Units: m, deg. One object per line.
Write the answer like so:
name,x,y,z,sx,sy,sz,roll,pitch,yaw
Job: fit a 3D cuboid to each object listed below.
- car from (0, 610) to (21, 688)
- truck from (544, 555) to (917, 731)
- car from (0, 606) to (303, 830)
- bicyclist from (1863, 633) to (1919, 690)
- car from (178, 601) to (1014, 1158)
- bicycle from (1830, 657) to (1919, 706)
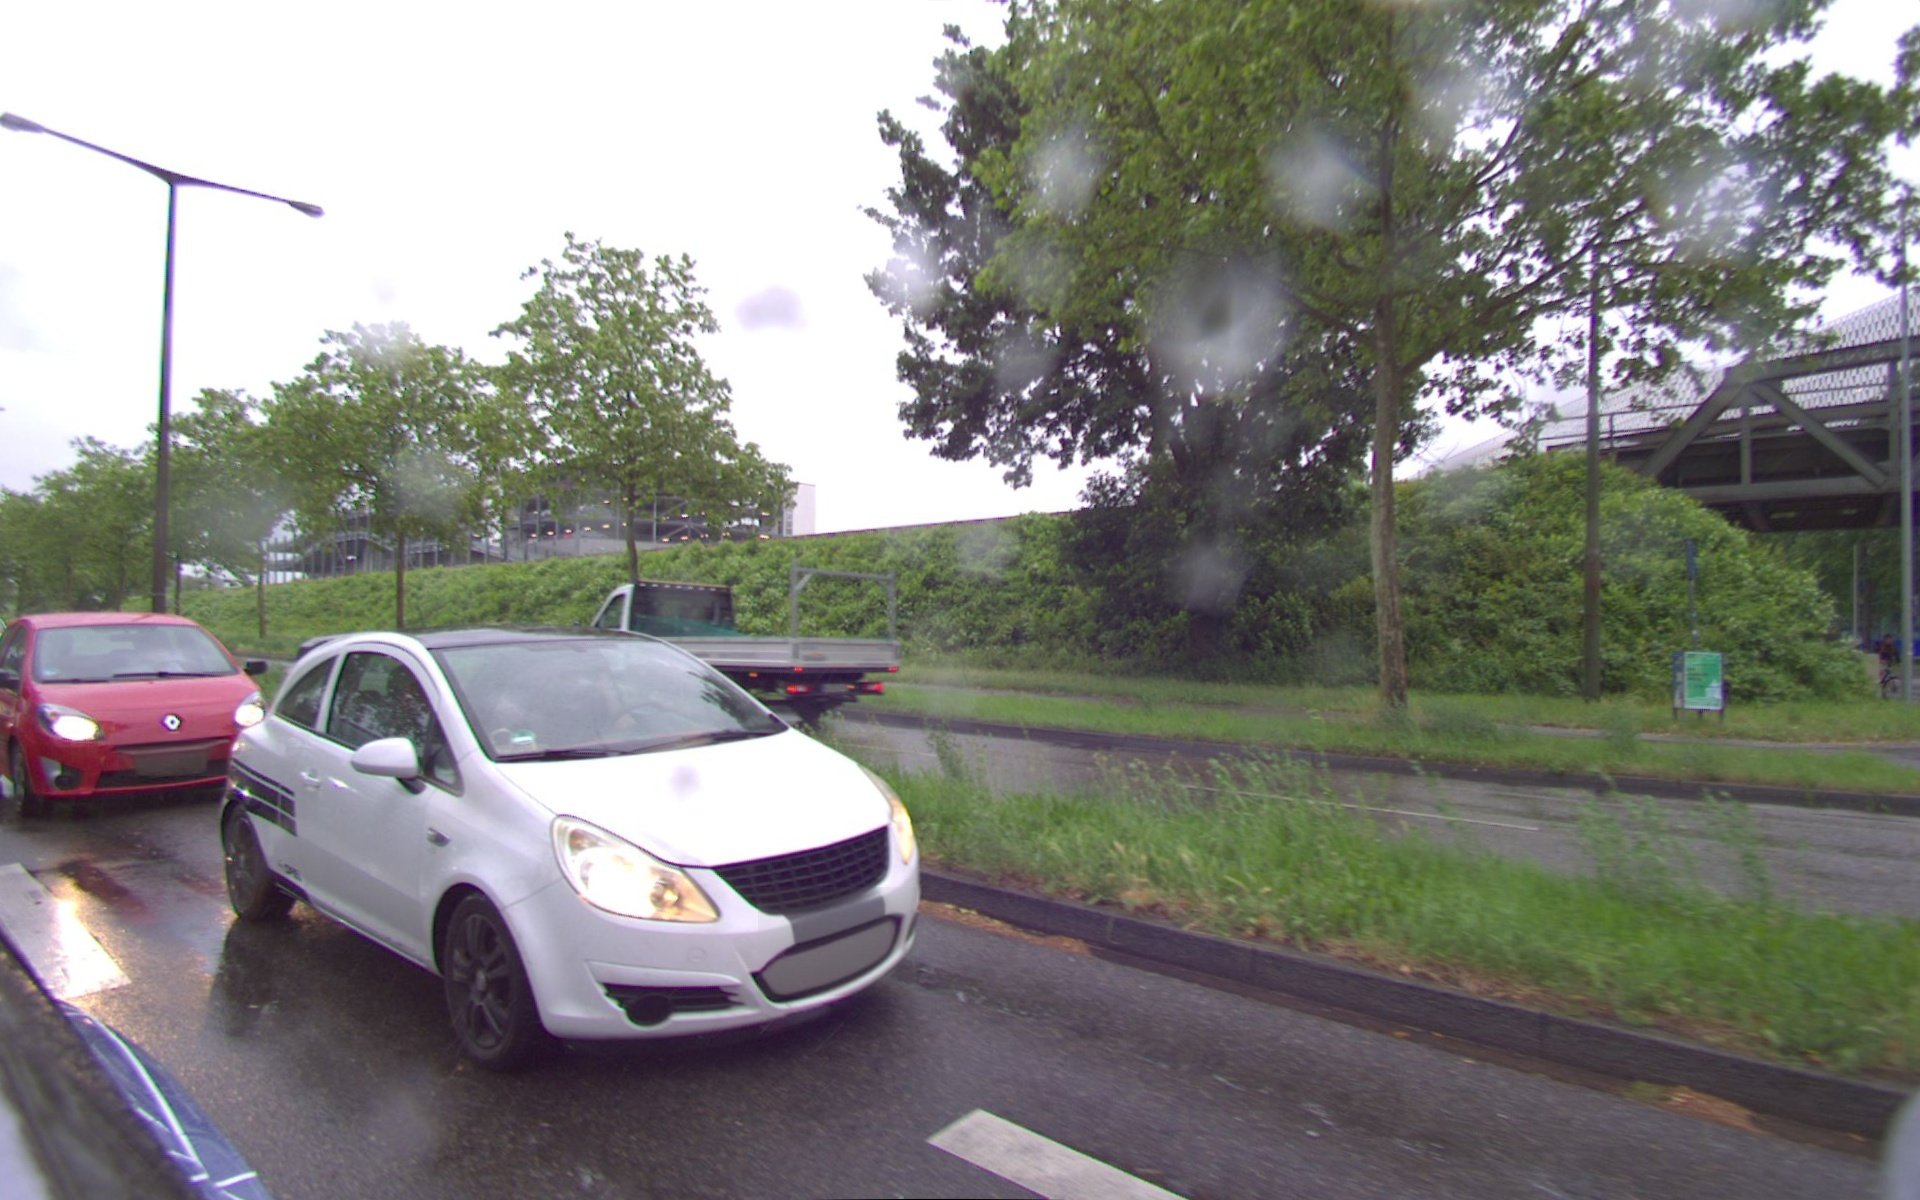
car,-21.817,1.055,21.829,4.144,1.624,1.808,-1,0,40
truck,-4.060,0.654,16.873,6.863,2.383,2.449,-1,-2,41
car,-7.328,0.819,8.754,4.090,1.476,1.702,-1,0,41
bicyclist,25.451,1.664,27.337,1.138,1.495,1.055,1,-2,6
car,-1.868,0.732,4.470,4.007,1.387,1.662,-1,0,39
bicycle,25.444,2.181,27.317,1.185,1.213,3.444,1,-2,5
